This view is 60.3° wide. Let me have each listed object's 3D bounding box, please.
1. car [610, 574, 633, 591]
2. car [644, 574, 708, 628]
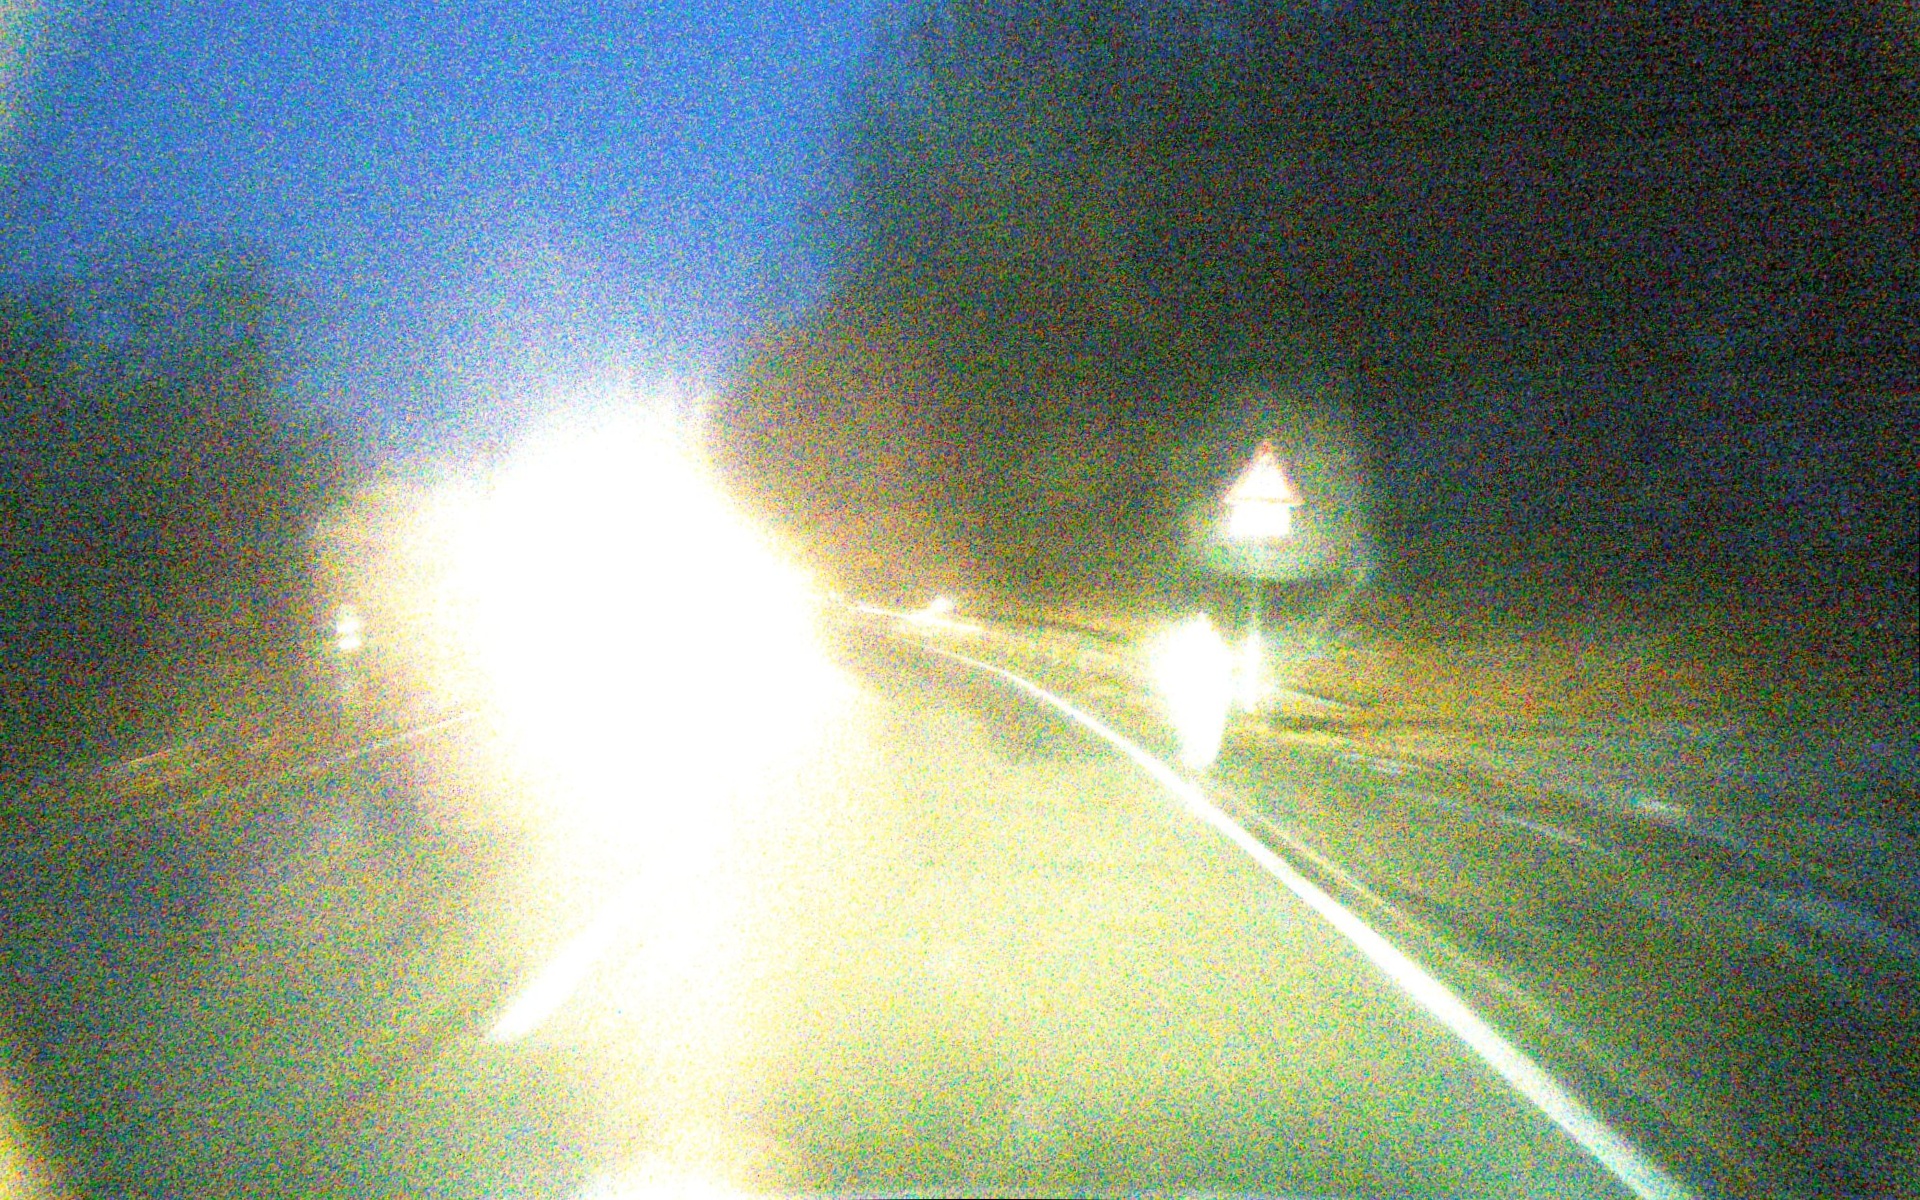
[{"bbox_3d":[-32.303,-1.677,157.763,1.959,1.497,3.824,2,1,-13],"label":"car"},{"bbox_3d":[-10.935,0.015,63.493,1.961,1.959,3.983,2,0,-16],"label":"car"}]
